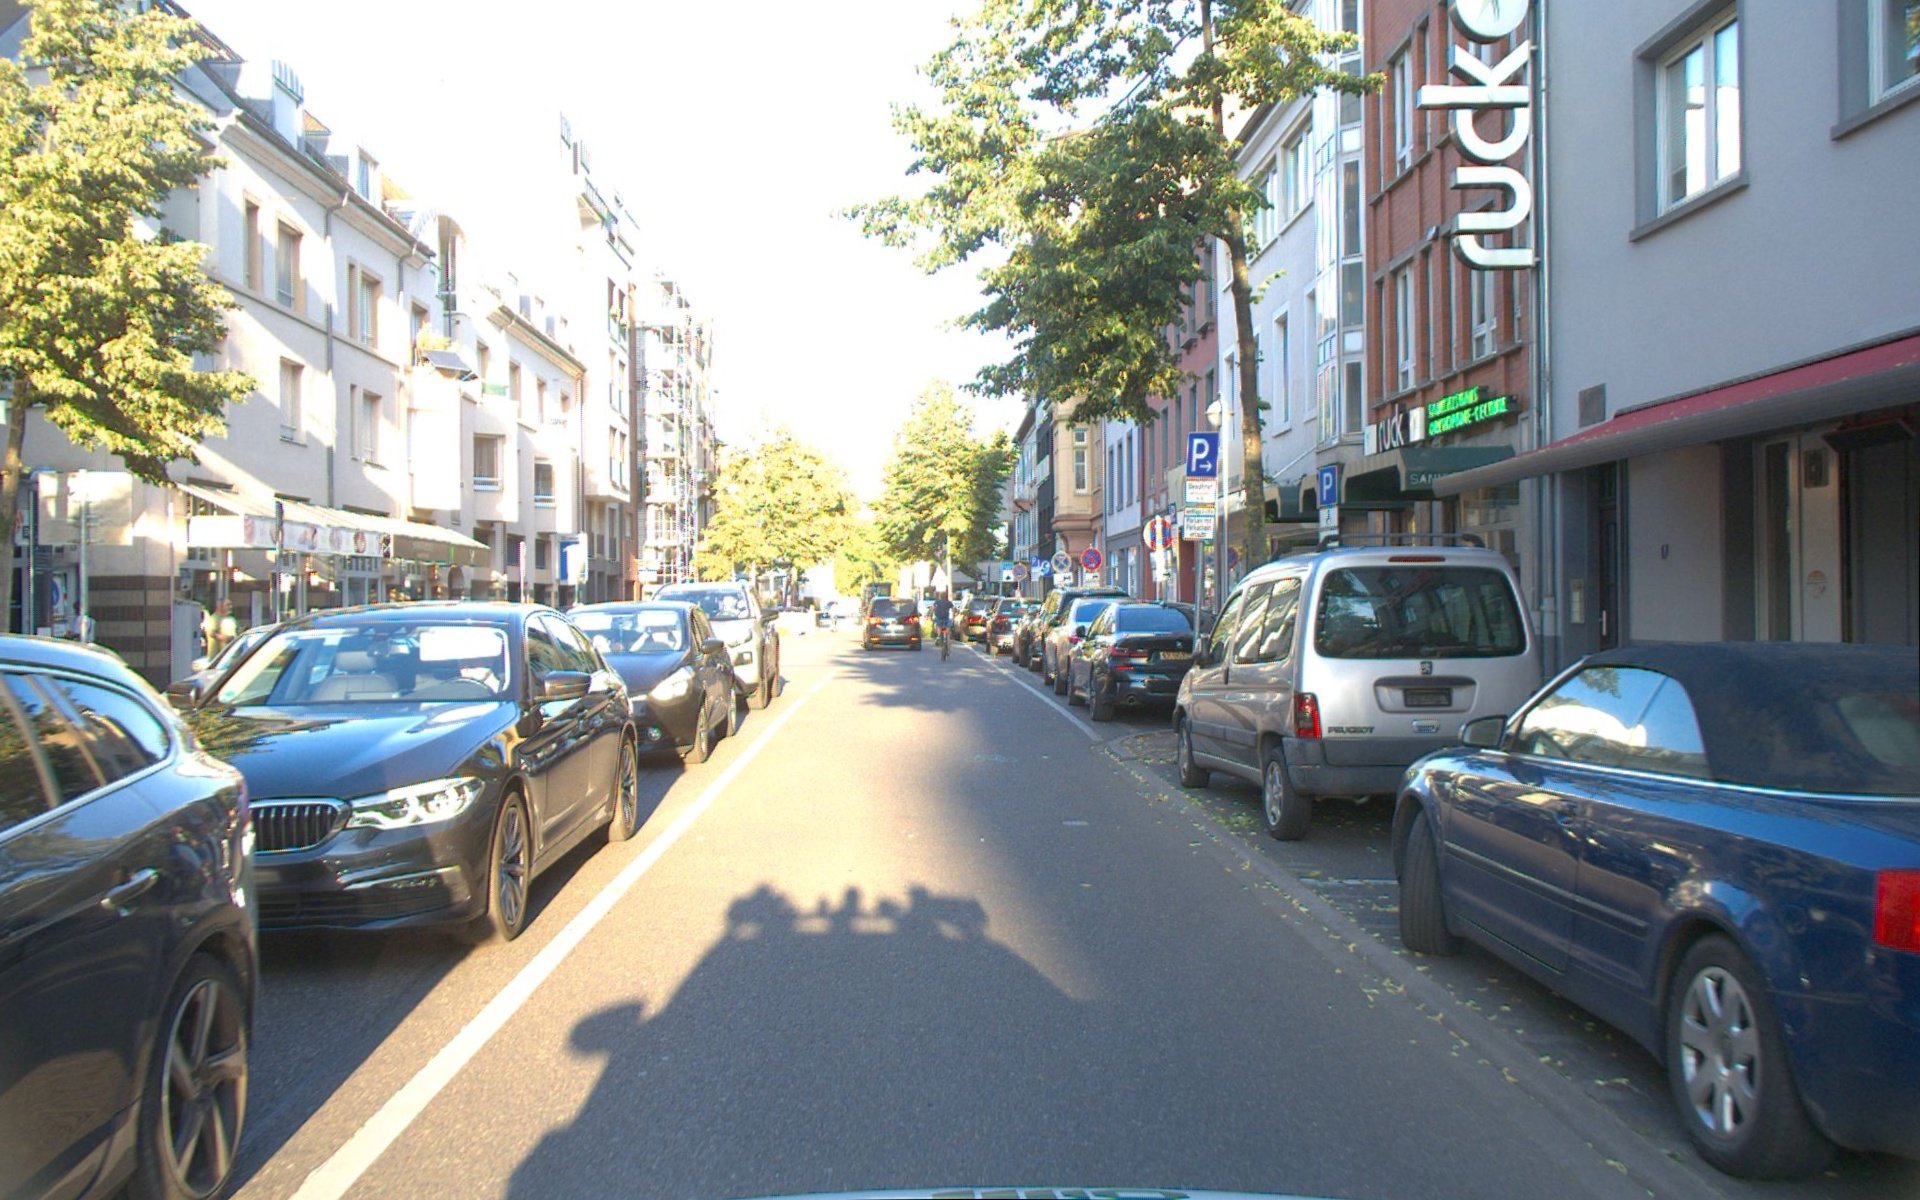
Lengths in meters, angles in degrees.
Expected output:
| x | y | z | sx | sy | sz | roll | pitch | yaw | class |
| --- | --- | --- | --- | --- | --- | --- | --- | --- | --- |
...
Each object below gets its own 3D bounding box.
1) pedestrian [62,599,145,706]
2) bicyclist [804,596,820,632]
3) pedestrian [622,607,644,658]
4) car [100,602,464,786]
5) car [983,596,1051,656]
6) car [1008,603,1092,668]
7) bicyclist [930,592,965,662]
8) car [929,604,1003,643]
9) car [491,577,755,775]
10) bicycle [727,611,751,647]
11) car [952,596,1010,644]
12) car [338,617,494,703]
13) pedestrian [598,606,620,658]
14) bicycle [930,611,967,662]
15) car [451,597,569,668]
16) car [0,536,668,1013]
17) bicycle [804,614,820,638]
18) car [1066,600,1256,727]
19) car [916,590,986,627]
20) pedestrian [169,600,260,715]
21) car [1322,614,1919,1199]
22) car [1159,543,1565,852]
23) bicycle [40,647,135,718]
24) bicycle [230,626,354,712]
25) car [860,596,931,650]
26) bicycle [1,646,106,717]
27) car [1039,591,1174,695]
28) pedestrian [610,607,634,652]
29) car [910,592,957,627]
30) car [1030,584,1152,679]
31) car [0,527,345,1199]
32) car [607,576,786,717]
| x | y | z | sx | sy | sz | roll | pitch | yaw | class |
| --- | --- | --- | --- | --- | --- | --- | --- | --- | --- |
| -13.994 | 0.848 | 27.047 | 0.884 | 1.706 | 0.780 | 0 | -1 | 12 | pedestrian |
| -7.836 | 0.743 | 87.619 | 0.765 | 1.861 | 1.006 | -2 | -1 | -4 | bicyclist |
| -11.472 | 1.146 | 58.007 | 0.703 | 1.771 | 0.737 | 1 | -1 | -10 | pedestrian |
| -6.786 | 0.879 | 17.162 | 1.954 | 1.538 | 4.507 | -3 | -1 | -2 | car |
| 1.635 | 0.767 | 48.742 | 1.775 | 1.697 | 4.204 | 0 | -1 | -1 | car |
| 2.160 | 0.853 | 40.541 | 1.726 | 1.510 | 4.305 | 0 | -1 | -1 | car |
| -0.323 | 0.687 | 41.877 | 0.765 | 1.726 | 1.006 | -2 | -1 | -4 | bicyclist |
| 0.243 | 0.950 | 67.848 | 2.911 | 1.563 | 1.431 | 1 | -1 | -6 | car |
| -3.066 | 0.661 | 15.937 | 1.689 | 1.576 | 4.463 | -2 | -1 | -1 | car |
| -8.873 | 1.161 | 66.338 | 0.829 | 1.374 | 3.179 | -1 | -1 | -10 | bicycle |
| 0.755 | 0.775 | 62.059 | 1.789 | 1.725 | 4.364 | 0 | -1 | -5 | car |
| -9.665 | 1.040 | 29.672 | 1.627 | 1.427 | 3.882 | 0 | -1 | -2 | car |
| -12.279 | 1.107 | 57.876 | 0.703 | 1.798 | 0.692 | 1 | -1 | -10 | pedestrian |
| -0.306 | 0.913 | 41.954 | 0.765 | 1.225 | 2.019 | -2 | -1 | -4 | bicycle |
| -9.905 | 0.716 | 36.688 | 1.676 | 1.479 | 3.723 | 0 | -1 | -2 | car |
| -2.806 | 0.666 | 8.328 | 1.907 | 1.673 | 4.613 | -2 | -1 | -1 | car |
| -7.818 | 1.370 | 87.524 | 0.765 | 1.225 | 2.019 | -2 | -1 | -4 | bicycle |
| 2.461 | 0.730 | 21.300 | 1.717 | 1.445 | 4.507 | 0 | 0 | -3 | car |
| -0.483 | 0.466 | 95.404 | 3.904 | 2.049 | 2.001 | -1 | 0 | 2 | car |
| -11.430 | 0.873 | 25.386 | 0.885 | 1.705 | 0.994 | -1 | 1 | 4 | pedestrian |
| 2.750 | 0.786 | 5.585 | 1.898 | 1.400 | 4.179 | 2 | 0 | -3 | car |
| 2.625 | 0.568 | 11.767 | 1.622 | 1.809 | 4.007 | 0 | 0 | -5 | car |
| -13.248 | 1.231 | 25.179 | 0.480 | 1.009 | 2.014 | 0 | -1 | -4 | bicycle |
| -10.897 | 1.091 | 27.133 | 0.939 | 1.323 | 3.124 | 0 | -1 | -4 | bicycle |
| -1.988 | 0.722 | 52.001 | 1.952 | 1.630 | 4.510 | 0 | -1 | 1 | car |
| -13.789 | 1.225 | 25.217 | 0.480 | 1.009 | 2.015 | 0 | -1 | -1 | bicycle |
| 2.312 | 0.683 | 27.251 | 1.775 | 1.554 | 4.993 | 0 | -1 | 0 | car |
| -12.812 | 1.120 | 62.718 | 0.702 | 1.670 | 0.855 | 0 | -1 | 2 | pedestrian |
| -1.550 | 0.574 | 95.138 | 2.221 | 1.797 | 4.504 | 5 | -1 | -5 | car |
| 2.573 | 0.632 | 33.691 | 1.845 | 1.785 | 5.055 | 0 | -1 | -3 | car |
| -2.575 | 0.684 | 2.394 | 1.919 | 1.574 | 4.506 | -1 | 1 | -4 | car |
| -3.490 | 0.602 | 22.733 | 1.902 | 1.673 | 4.735 | -2 | -1 | -3 | car |
